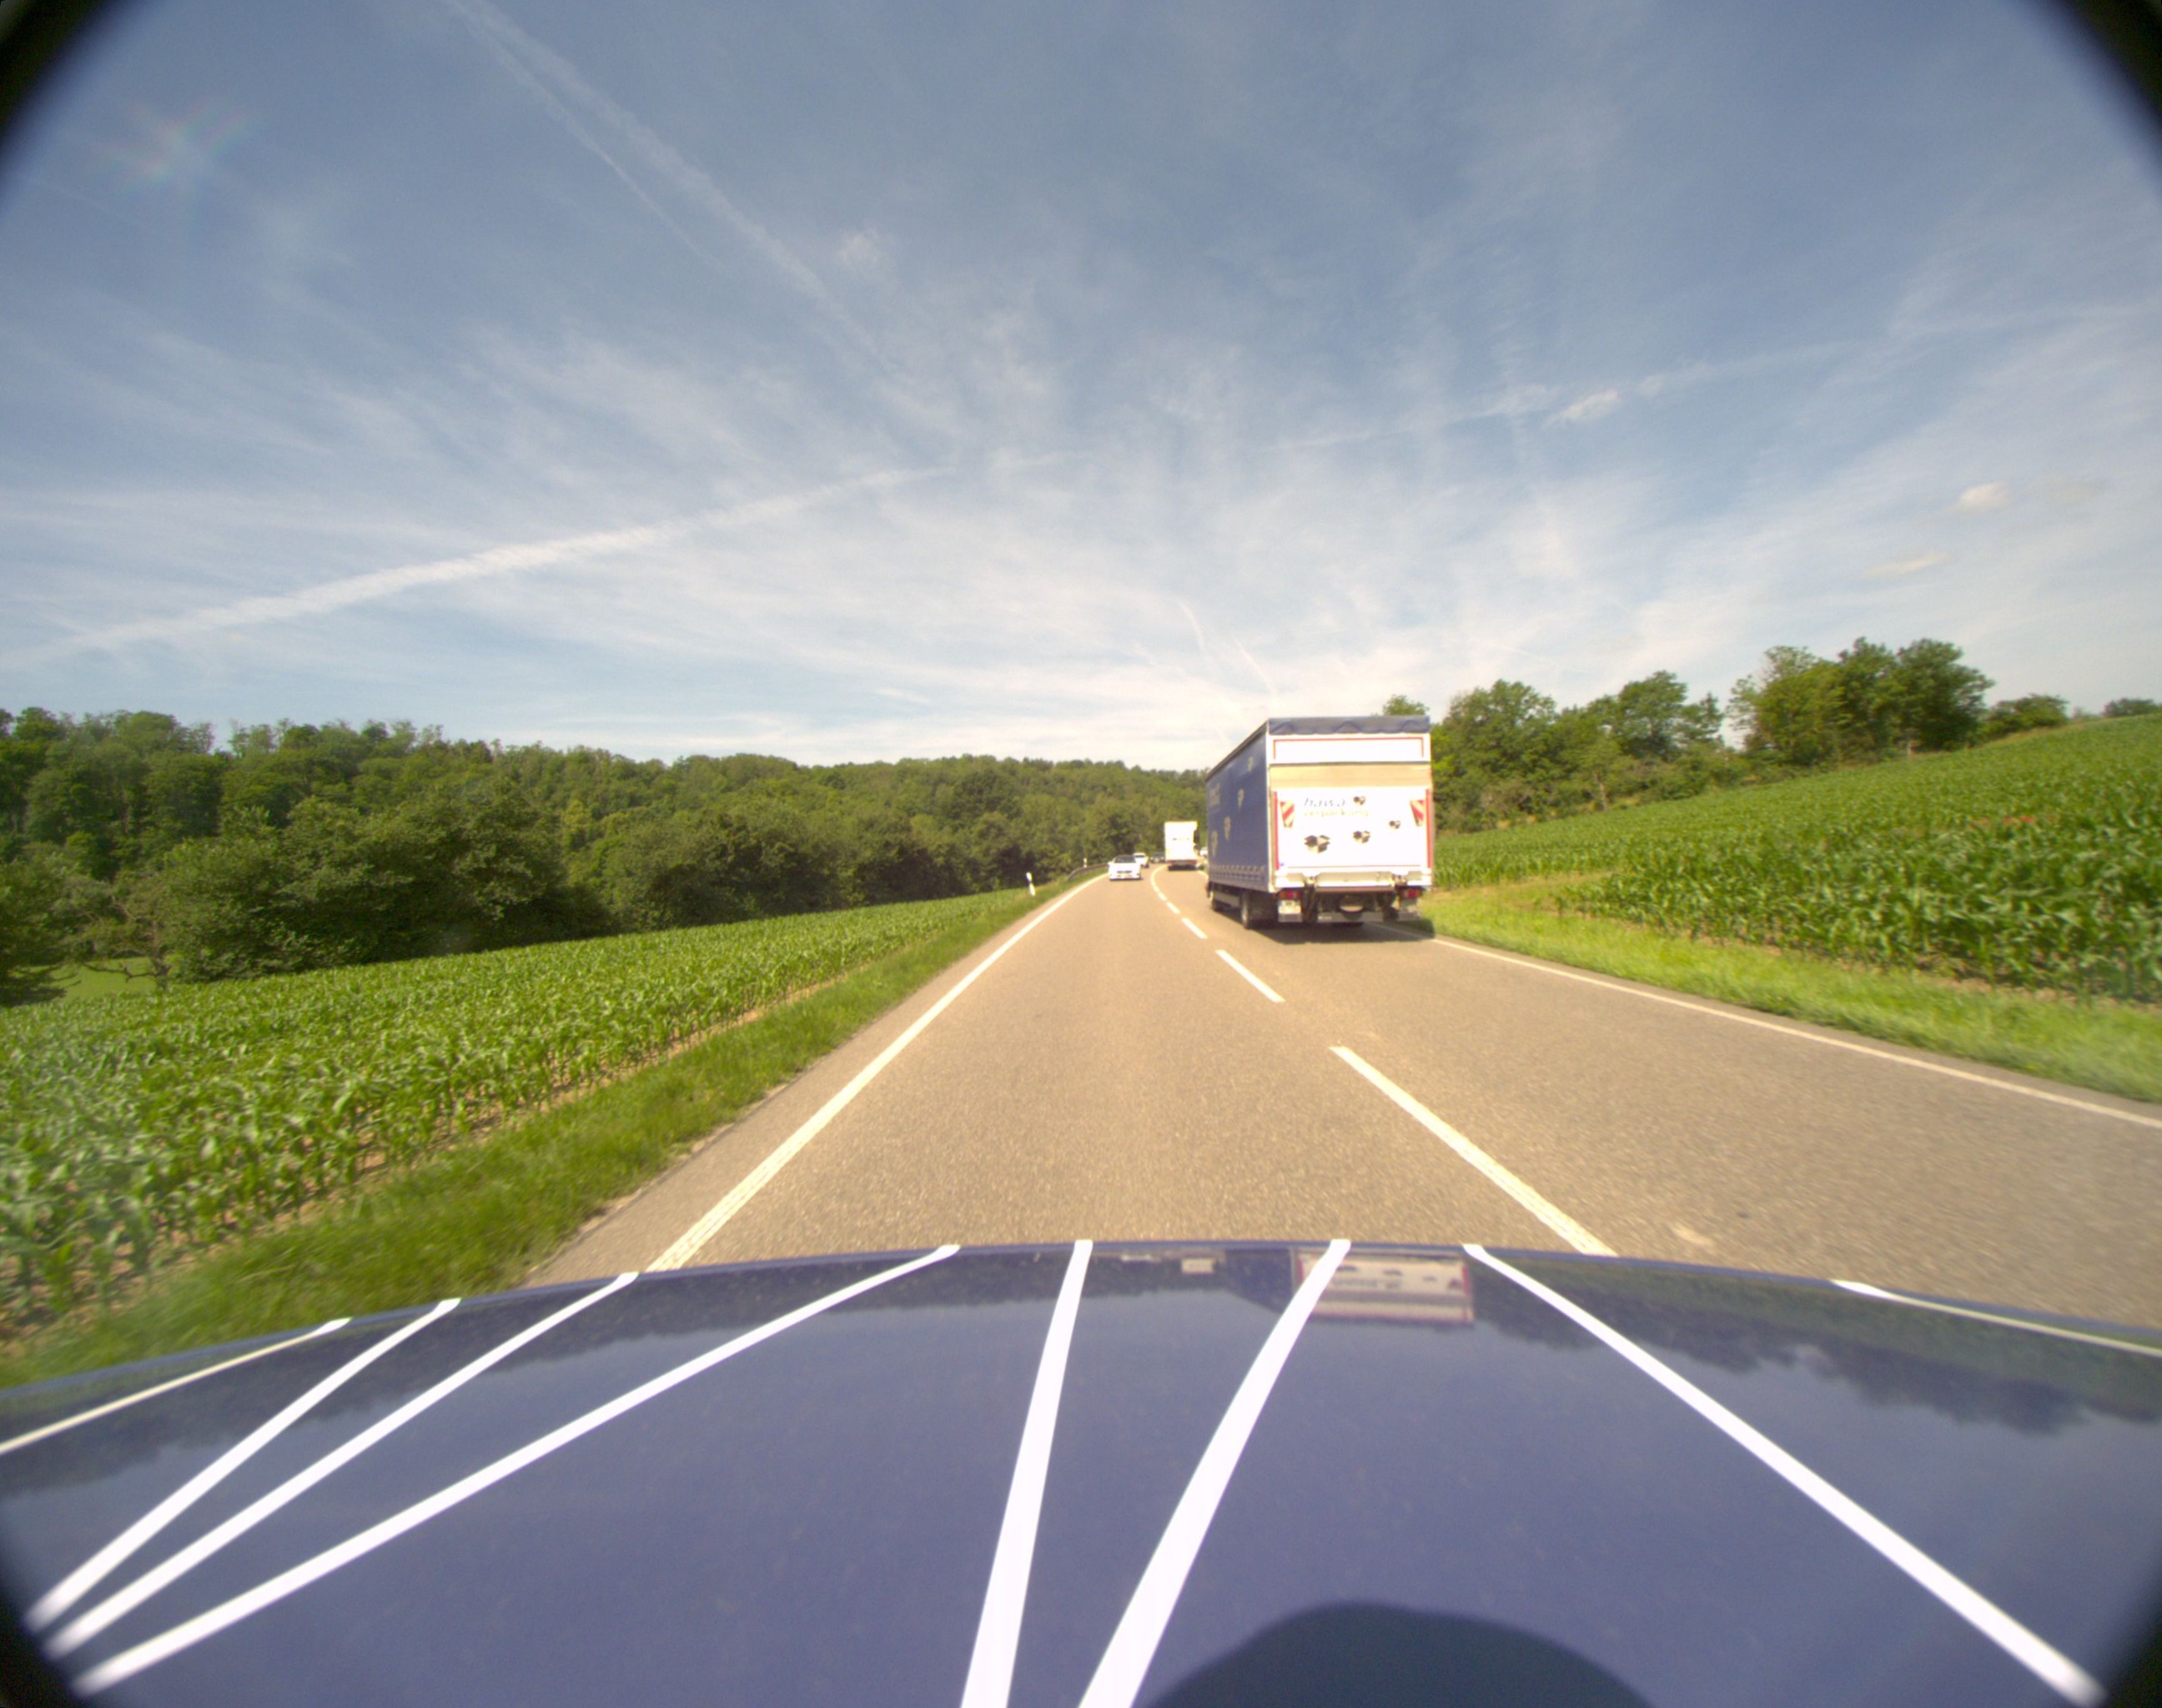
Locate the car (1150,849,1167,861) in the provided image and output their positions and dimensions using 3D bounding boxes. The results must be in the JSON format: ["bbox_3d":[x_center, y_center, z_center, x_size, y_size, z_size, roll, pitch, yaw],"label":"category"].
[{"bbox_3d":[10.444,0.168,102.062,1.741,1.445,4.039,-1,1,13],"label":"car"}]

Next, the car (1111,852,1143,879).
[{"bbox_3d":[2.799,0.664,45.614,1.742,1.445,4.036,-2,1,5],"label":"car"}]

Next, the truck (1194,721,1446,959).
[{"bbox_3d":[4.383,-0.228,16.503,2.747,3.558,9.727,-2,0,3],"label":"truck"}]

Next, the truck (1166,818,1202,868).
[{"bbox_3d":[9.297,-0.921,70.007,2.776,3.975,17.034,-2,0,6],"label":"truck"}]

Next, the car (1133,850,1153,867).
[{"bbox_3d":[6.298,0.473,77.276,1.716,1.523,4.001,-2,1,8],"label":"car"}]
